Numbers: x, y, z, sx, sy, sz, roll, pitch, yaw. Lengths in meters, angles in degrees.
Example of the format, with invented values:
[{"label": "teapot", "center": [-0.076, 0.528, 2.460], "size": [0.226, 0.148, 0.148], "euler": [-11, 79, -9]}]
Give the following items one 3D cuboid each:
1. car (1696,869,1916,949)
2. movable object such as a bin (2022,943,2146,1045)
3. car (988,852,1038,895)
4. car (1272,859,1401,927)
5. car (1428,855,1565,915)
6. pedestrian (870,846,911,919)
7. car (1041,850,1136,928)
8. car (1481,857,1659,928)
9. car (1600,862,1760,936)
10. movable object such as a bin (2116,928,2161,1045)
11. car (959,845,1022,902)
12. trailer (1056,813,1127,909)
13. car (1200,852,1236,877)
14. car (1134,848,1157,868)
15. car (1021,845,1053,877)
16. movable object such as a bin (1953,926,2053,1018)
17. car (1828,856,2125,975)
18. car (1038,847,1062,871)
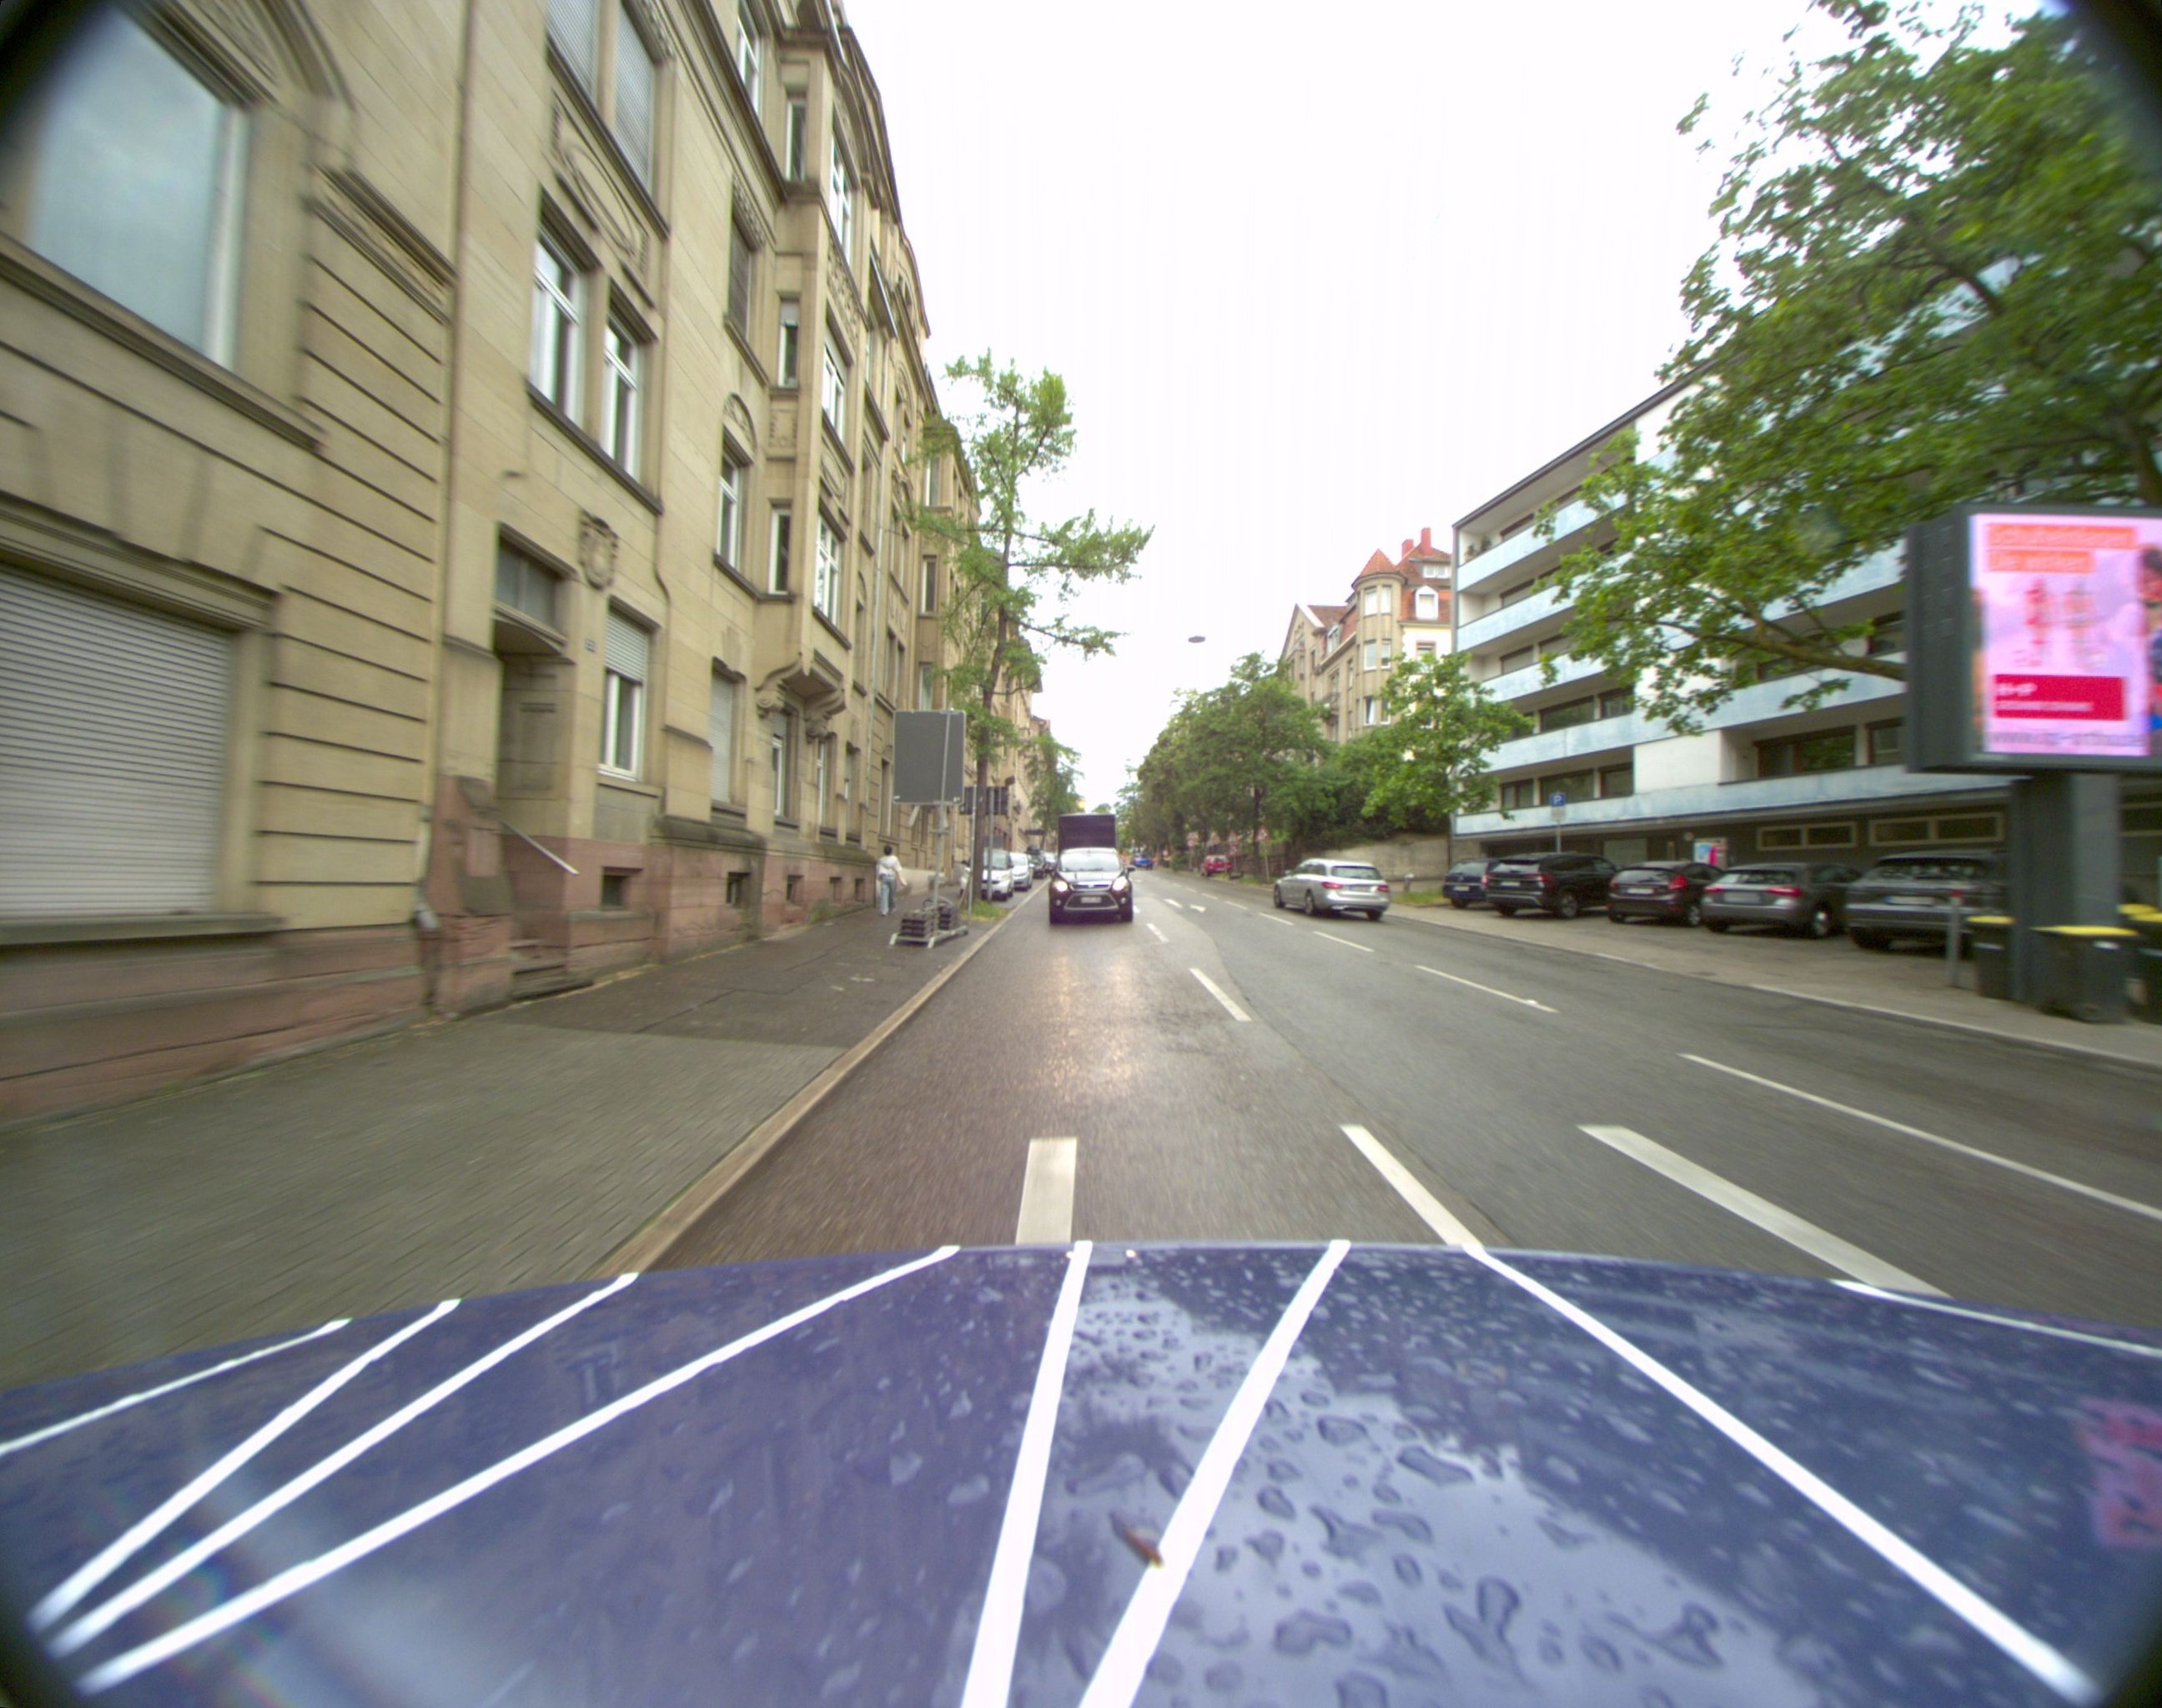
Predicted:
[{"label": "car", "center": [14.486, 1.015, 15.200], "size": [3.840, 1.397, 1.688], "euler": [0, 0, -21]}, {"label": "movable object such as a bin", "center": [9.827, 1.353, 7.457], "size": [0.485, 0.896, 0.546], "euler": [0, 1, -3]}, {"label": "car", "center": [-2.642, 0.732, 30.347], "size": [1.547, 1.478, 3.762], "euler": [5, 0, 0]}, {"label": "car", "center": [6.458, 0.920, 19.755], "size": [1.731, 1.439, 4.325], "euler": [3, 0, -1]}, {"label": "car", "center": [12.482, 0.862, 22.817], "size": [3.841, 1.523, 1.767], "euler": [-2, 2, -28]}, {"label": "pedestrian", "center": [-4.108, 0.602, 16.400], "size": [0.645, 1.488, 0.690], "euler": [4, 4, -1]}, {"label": "car", "center": [0.274, 0.705, 16.958], "size": [1.861, 1.503, 3.684], "euler": [1, 0, 4]}, {"label": "car", "center": [12.713, 0.916, 19.751], "size": [4.317, 1.583, 1.807], "euler": [-1, 1, -24]}, {"label": "car", "center": [14.087, 0.976, 17.821], "size": [3.842, 1.397, 1.676], "euler": [-3, 2, -31]}, {"label": "movable object such as a bin", "center": [10.452, 1.259, 7.123], "size": [0.643, 1.073, 0.627], "euler": [0, 1, -3]}, {"label": "car", "center": [-2.873, 0.591, 24.667], "size": [1.526, 1.608, 3.493], "euler": [5, 0, 0]}, {"label": "trailer", "center": [0.335, 0.226, 23.232], "size": [1.938, 2.621, 4.685], "euler": [0, -1, 1]}, {"label": "car", "center": [9.150, 0.658, 50.930], "size": [1.752, 1.497, 3.887], "euler": [3, 0, 2]}, {"label": "car", "center": [6.036, 0.376, 71.235], "size": [1.794, 1.655, 3.886], "euler": [3, 0, 1]}, {"label": "car", "center": [-2.543, 0.397, 44.319], "size": [1.547, 1.699, 3.762], "euler": [5, 0, 0]}, {"label": "movable object such as a bin", "center": [10.396, 1.314, 8.580], "size": [0.485, 0.958, 0.512], "euler": [0, 1, -3]}, {"label": "car", "center": [14.485, 0.890, 12.333], "size": [3.840, 1.679, 1.803], "euler": [0, 1, -19]}, {"label": "car", "center": [-2.424, 0.380, 60.116], "size": [1.547, 1.699, 3.762], "euler": [5, 0, 0]}]
